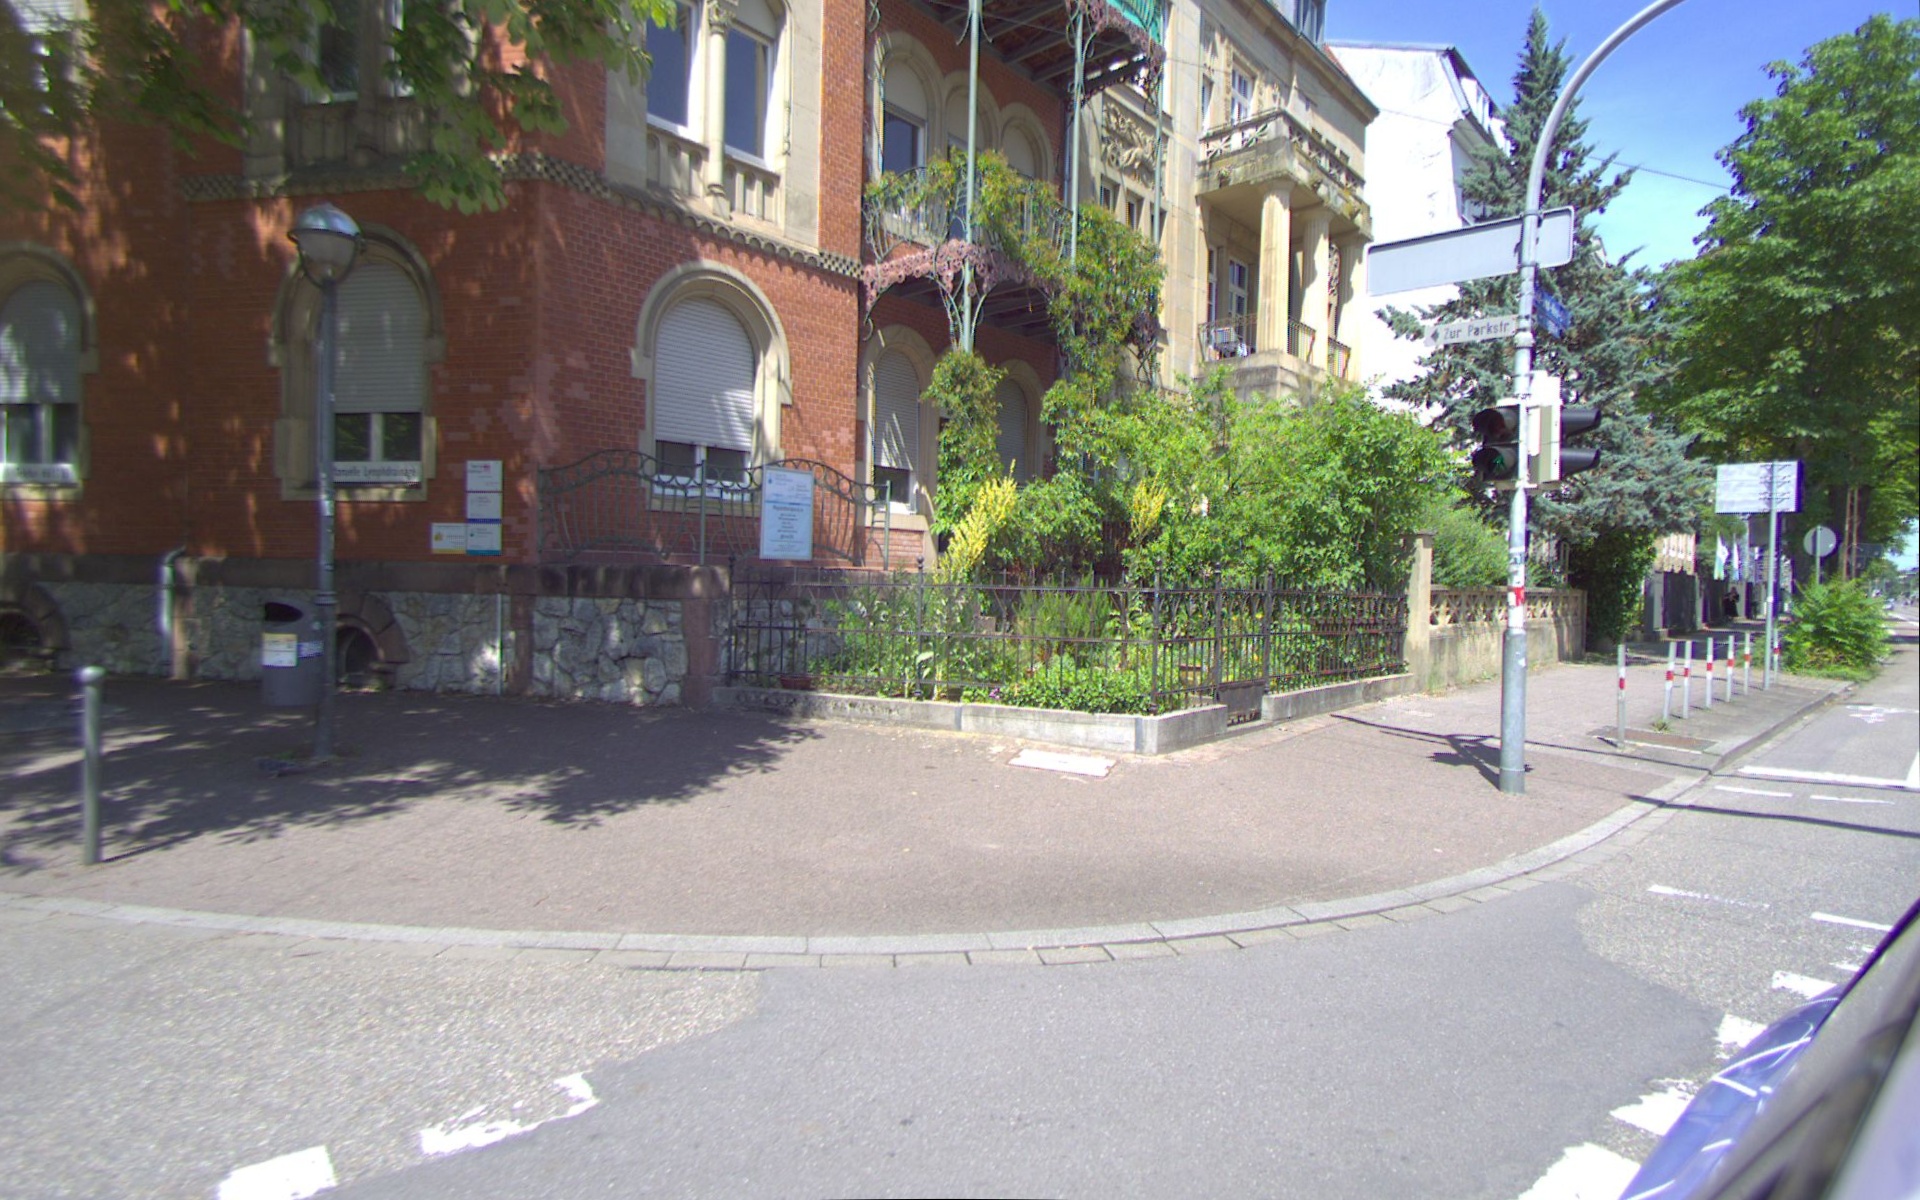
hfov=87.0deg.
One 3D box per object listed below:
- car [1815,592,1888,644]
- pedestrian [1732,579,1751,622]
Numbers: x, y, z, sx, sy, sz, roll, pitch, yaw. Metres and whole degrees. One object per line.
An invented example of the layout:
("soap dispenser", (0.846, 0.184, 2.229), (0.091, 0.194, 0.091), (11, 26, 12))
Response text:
("car", (29.383, 0.538, 33.342), (1.683, 1.479, 3.939), (4, 4, 42))
("pedestrian", (32.012, 0.017, 41.439), (0.545, 1.713, 0.744), (2, 2, 41))
